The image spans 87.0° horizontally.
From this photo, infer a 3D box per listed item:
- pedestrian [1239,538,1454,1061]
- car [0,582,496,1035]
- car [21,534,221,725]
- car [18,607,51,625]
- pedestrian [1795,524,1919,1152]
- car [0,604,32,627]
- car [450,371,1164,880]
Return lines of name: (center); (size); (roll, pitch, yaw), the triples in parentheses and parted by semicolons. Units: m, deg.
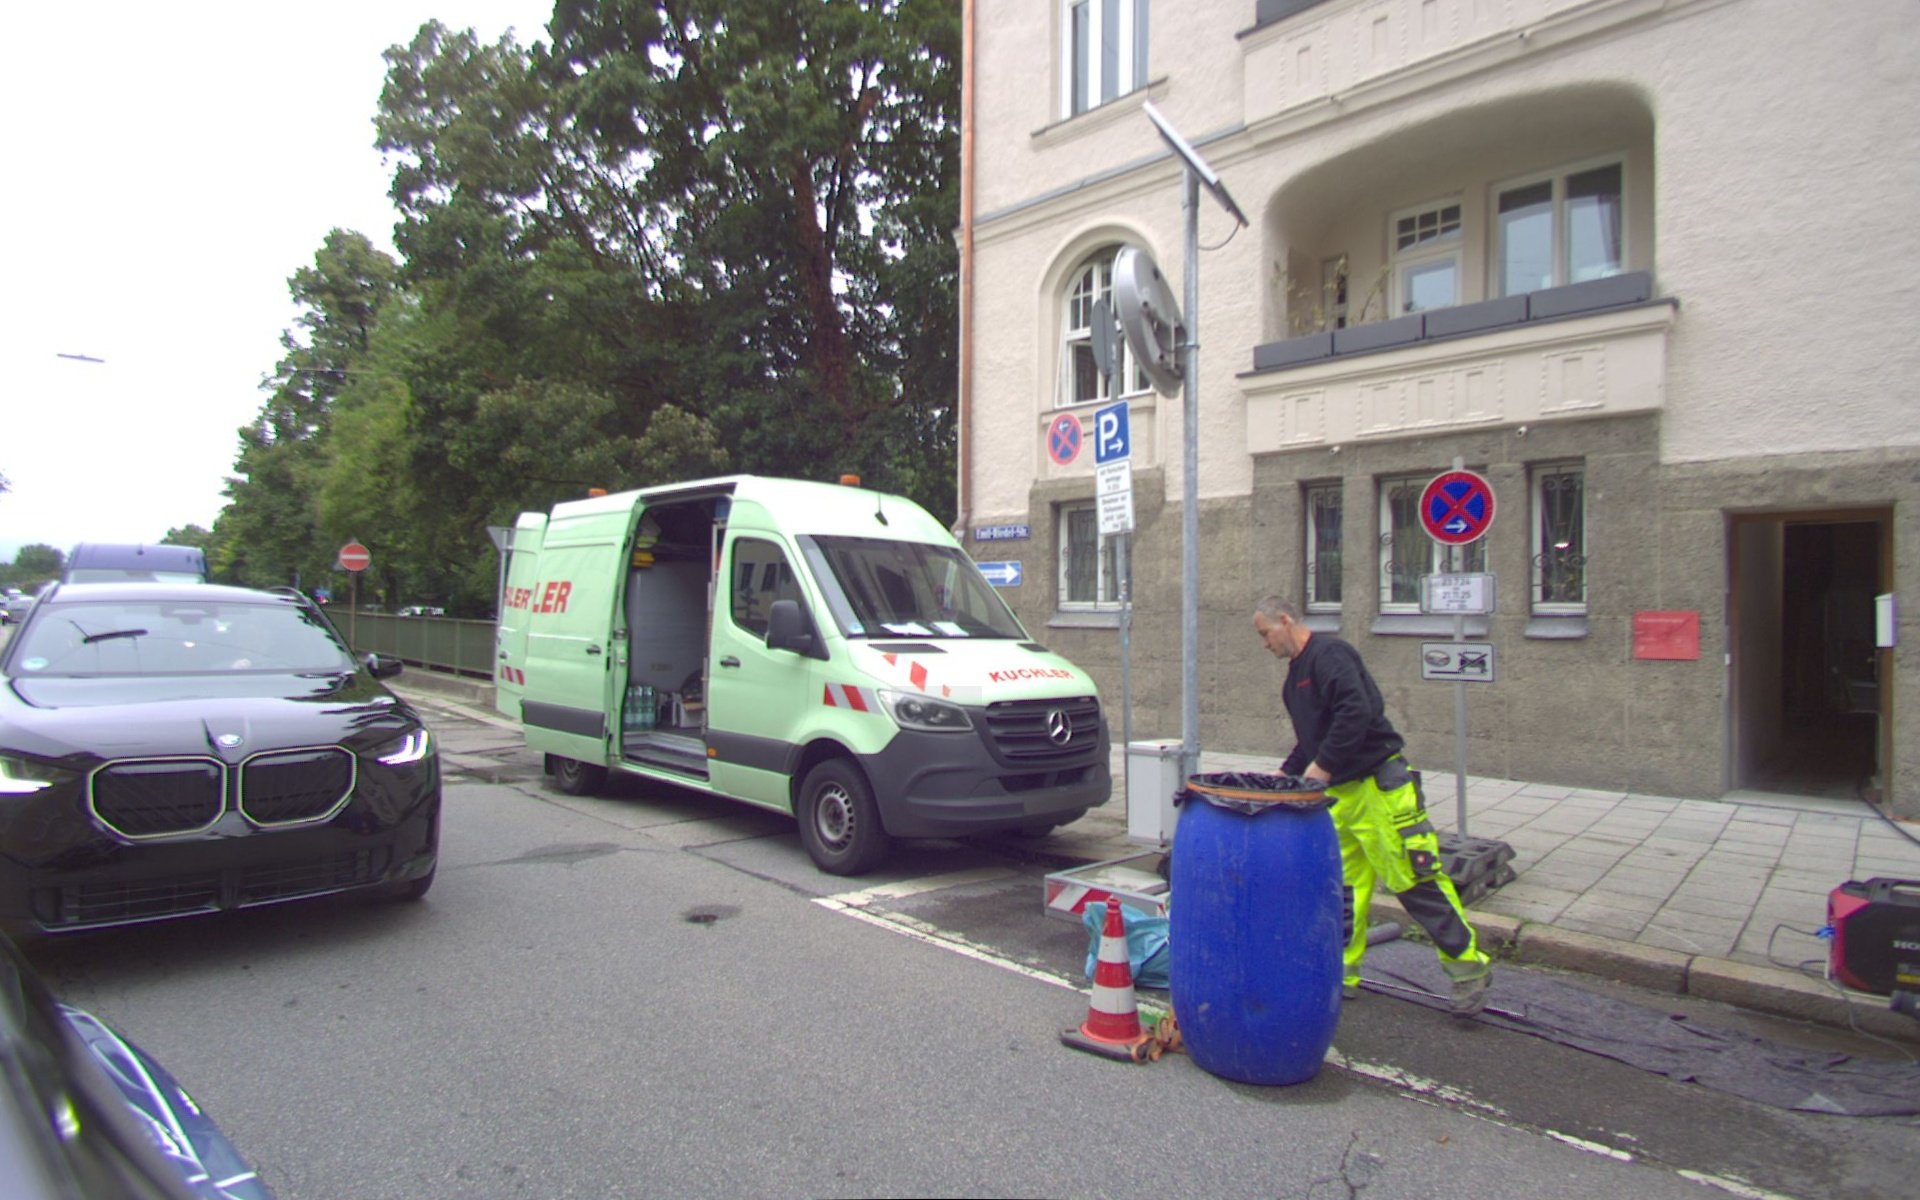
pedestrian: (1.385, 0.611, 3.571); (0.634, 1.592, 0.757); (0, -1, 26)
car: (-4.299, 0.733, 5.575); (1.893, 1.577, 4.298); (2, -1, -43)
car: (-13.310, 0.377, 16.422); (1.974, 2.510, 6.248); (1, 0, -35)
car: (-77.148, 1.308, 84.432); (1.810, 1.409, 4.007); (3, -2, -40)
pedestrian: (2.920, 0.631, 2.891); (0.633, 1.643, 0.757); (0, -1, 24)
car: (-59.522, 0.969, 63.366); (1.810, 1.409, 4.007); (3, -2, -40)
car: (-1.817, 0.168, 8.298); (6.797, 2.592, 2.117); (-1, -1, 44)
